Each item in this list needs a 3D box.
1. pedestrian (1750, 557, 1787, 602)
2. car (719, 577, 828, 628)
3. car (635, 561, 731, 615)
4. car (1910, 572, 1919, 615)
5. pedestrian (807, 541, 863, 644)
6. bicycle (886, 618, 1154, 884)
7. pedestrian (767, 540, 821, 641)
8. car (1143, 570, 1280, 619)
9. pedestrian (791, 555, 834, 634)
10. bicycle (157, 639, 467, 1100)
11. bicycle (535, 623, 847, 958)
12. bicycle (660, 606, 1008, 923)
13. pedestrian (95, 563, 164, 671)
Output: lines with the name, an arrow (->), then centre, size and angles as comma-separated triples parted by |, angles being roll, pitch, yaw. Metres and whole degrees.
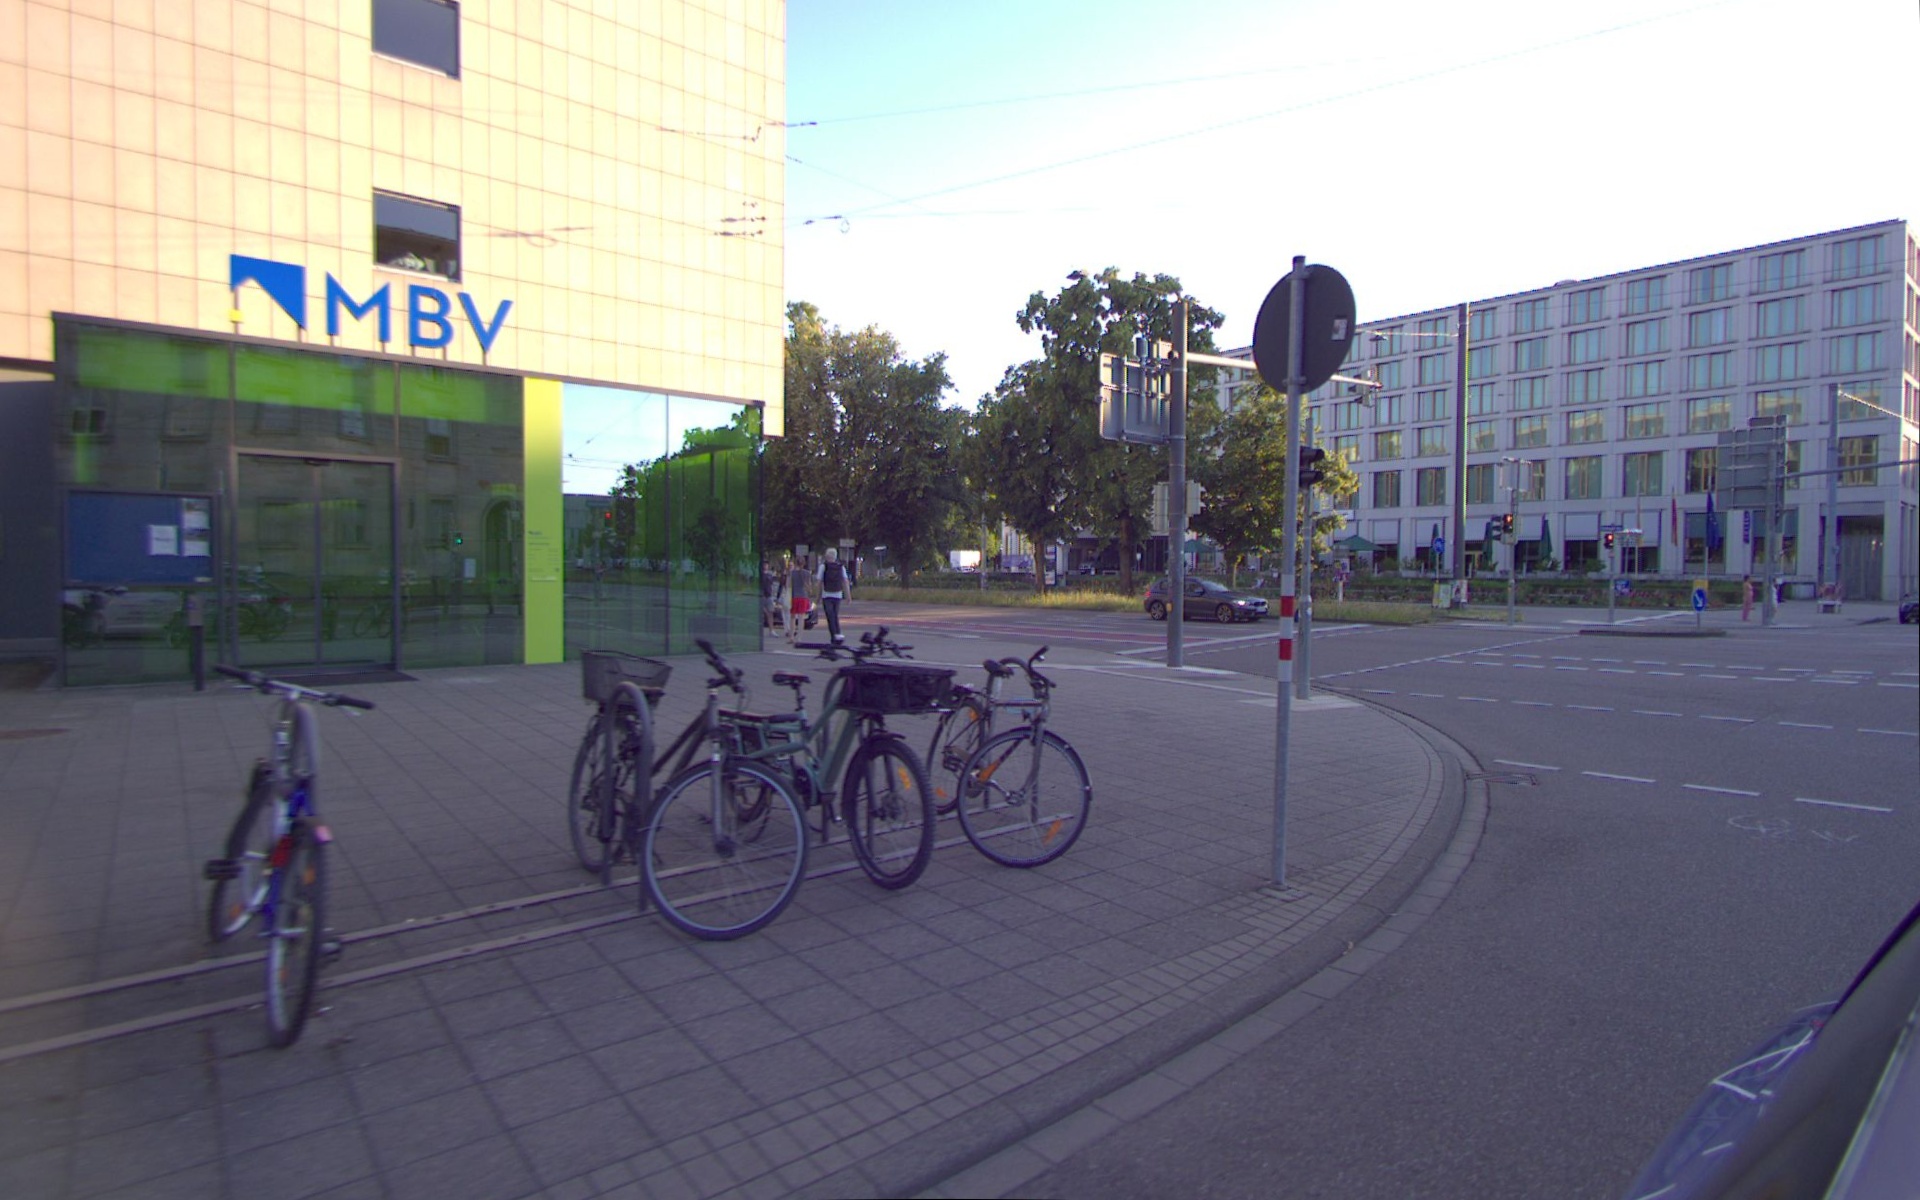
pedestrian -> 29.824, -0.760, 37.342 | 0.711, 1.646, 0.740 | 0, 1, -7
car -> -5.811, 0.033, 31.220 | 1.668, 1.428, 3.864 | -1, 2, -39
car -> -9.586, -0.439, 34.862 | 1.668, 1.686, 3.864 | 4, -1, -39
car -> 36.701, -0.267, 37.375 | 4.725, 1.542, 1.815 | -1, 0, -40
pedestrian -> -2.225, -0.150, 18.011 | 0.722, 1.790, 0.708 | -1, 2, -39
bicycle -> 0.226, 0.688, 5.500 | 0.728, 1.088, 1.870 | 0, 2, -22
pedestrian -> -3.014, -0.178, 18.376 | 0.733, 1.790, 0.708 | -1, 2, -39
car -> 8.043, -0.243, 32.704 | 1.667, 1.438, 4.172 | -1, 3, -37
pedestrian -> -3.418, -0.144, 23.479 | 0.826, 1.790, 0.787 | 0, 1, -22
bicycle -> -2.264, 0.735, 3.479 | 0.730, 1.088, 1.555 | -1, 2, -37
bicycle -> -1.271, 0.699, 4.510 | 0.730, 1.088, 1.760 | -1, 2, -37
bicycle -> -0.759, 0.665, 5.151 | 0.730, 1.146, 2.237 | -1, 3, -37
pedestrian -> -9.707, 0.175, 11.845 | 0.604, 1.223, 0.543 | -1, 2, -39
